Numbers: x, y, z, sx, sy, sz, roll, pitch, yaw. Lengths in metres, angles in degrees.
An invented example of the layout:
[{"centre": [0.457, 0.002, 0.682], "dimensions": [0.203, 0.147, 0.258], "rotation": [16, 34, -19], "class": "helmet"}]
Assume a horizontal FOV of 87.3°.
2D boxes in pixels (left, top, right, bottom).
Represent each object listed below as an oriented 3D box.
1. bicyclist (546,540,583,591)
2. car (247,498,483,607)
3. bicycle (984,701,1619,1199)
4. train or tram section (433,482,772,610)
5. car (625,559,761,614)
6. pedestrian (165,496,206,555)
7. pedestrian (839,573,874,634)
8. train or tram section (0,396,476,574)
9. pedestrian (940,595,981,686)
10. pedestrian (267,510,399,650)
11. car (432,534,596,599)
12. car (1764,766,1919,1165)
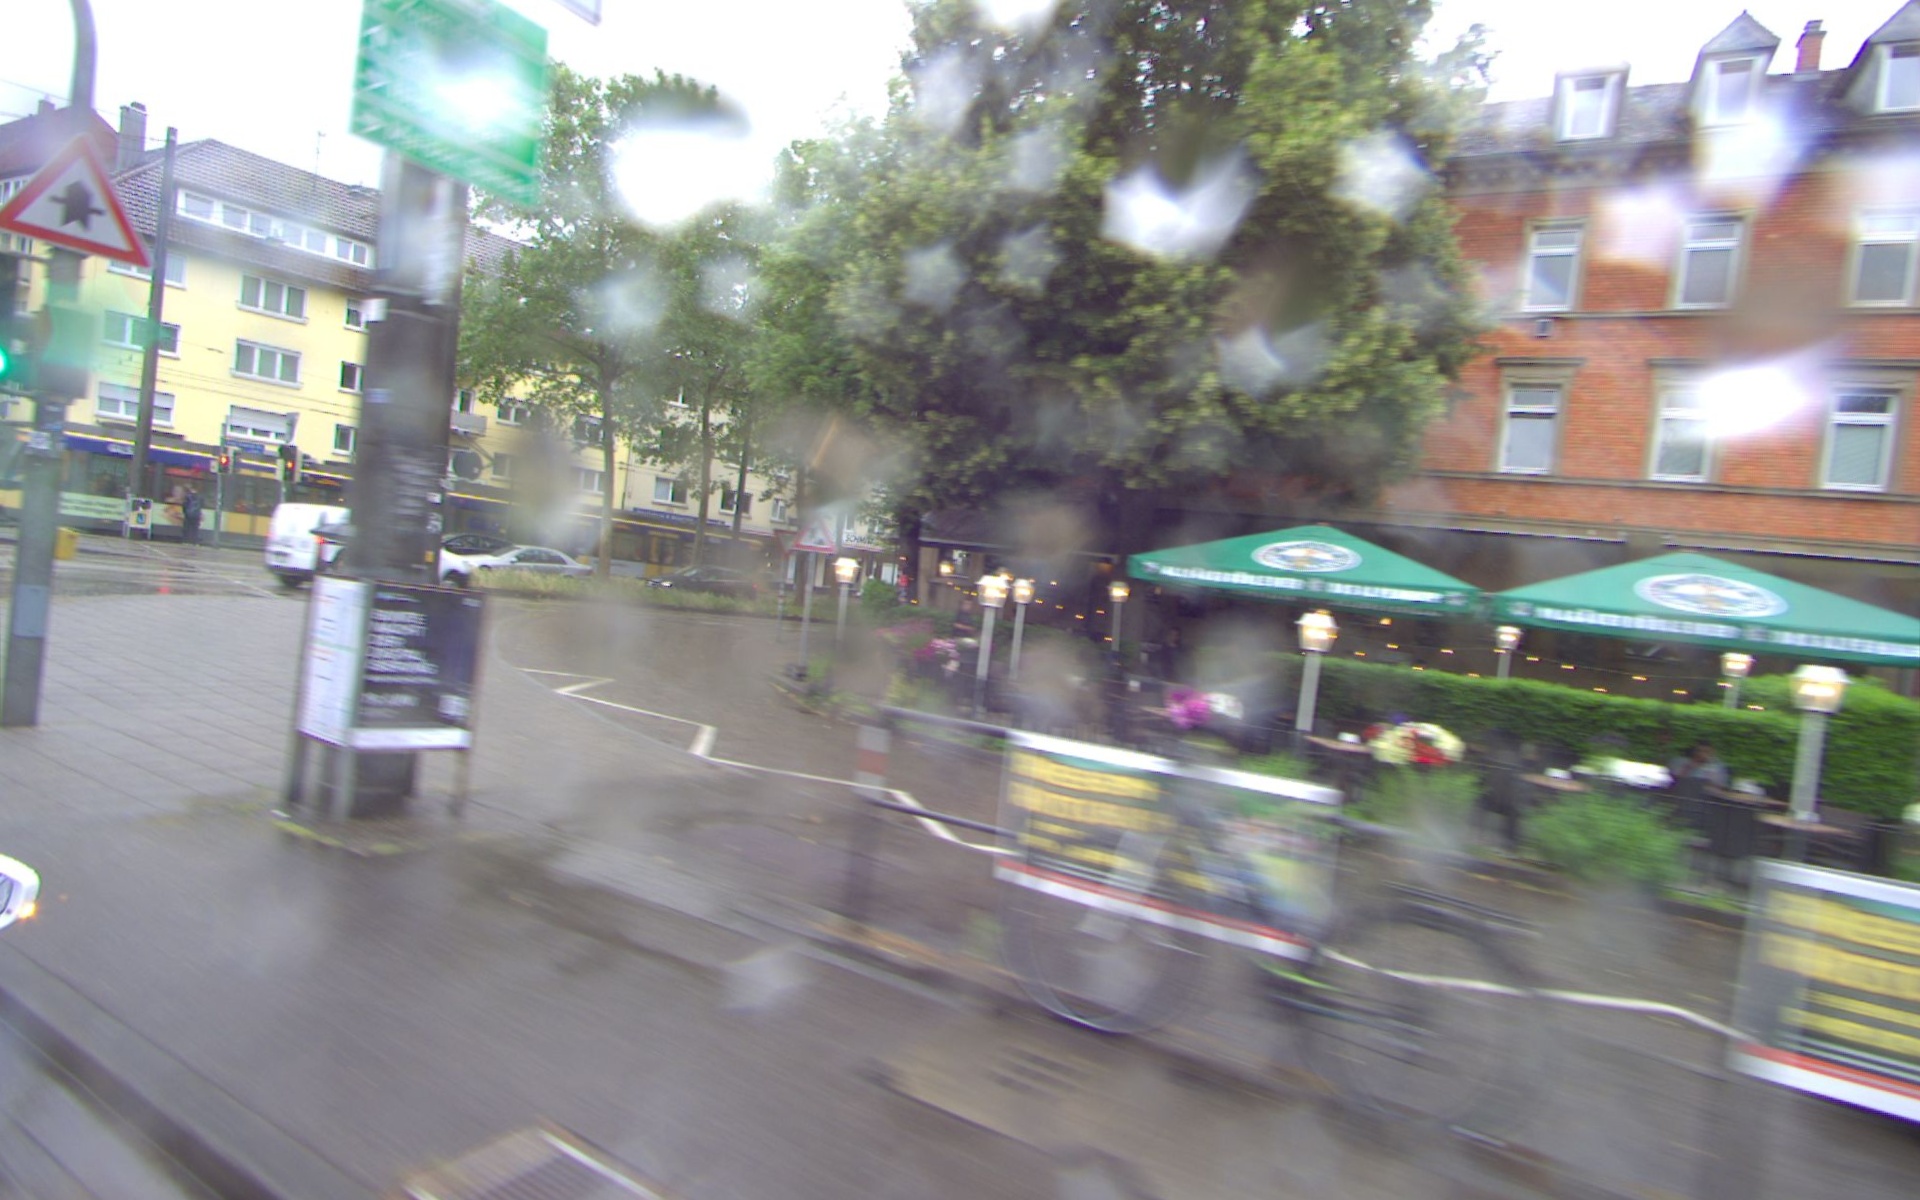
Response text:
[{"centre": [-14.643, -1.289, 37.252], "dimensions": [0.704, 1.737, 0.886], "rotation": [8, 1, 41], "class": "bicyclist"}, {"centre": [-13.167, -0.981, 22.572], "dimensions": [1.875, 1.819, 4.113], "rotation": [8, 0, 22], "class": "car"}, {"centre": [1.030, 1.071, 3.324], "dimensions": [1.762, 1.182, 0.423], "rotation": [8, -1, 29], "class": "bicycle"}, {"centre": [-15.605, -2.187, 45.907], "dimensions": [3.073, 3.601, 14.605], "rotation": [8, 0, 42], "class": "train or tram section"}, {"centre": [-10.054, -0.490, 38.201], "dimensions": [1.838, 1.504, 4.613], "rotation": [8, 1, 44], "class": "car"}, {"centre": [-24.082, -2.301, 31.297], "dimensions": [0.806, 1.699, 1.008], "rotation": [6, 1, -33], "class": "pedestrian"}, {"centre": [-3.167, 0.093, 30.864], "dimensions": [0.555, 1.798, 1.204], "rotation": [4, 2, 15], "class": "pedestrian"}, {"centre": [-24.755, -3.589, 34.694], "dimensions": [3.068, 3.601, 14.531], "rotation": [8, 0, 37], "class": "train or tram section"}, {"centre": [0.018, 0.773, 19.170], "dimensions": [0.382, 1.667, 0.549], "rotation": [8, 3, 31], "class": "pedestrian"}, {"centre": [-8.474, -0.268, 13.657], "dimensions": [1.088, 1.687, 0.995], "rotation": [8, 1, -13], "class": "pedestrian"}, {"centre": [-14.442, -1.052, 32.766], "dimensions": [1.717, 1.508, 4.475], "rotation": [8, 1, 43], "class": "car"}, {"centre": [5.677, 1.812, 4.065], "dimensions": [3.458, 1.518, 1.649], "rotation": [8, 0, 32], "class": "car"}]
